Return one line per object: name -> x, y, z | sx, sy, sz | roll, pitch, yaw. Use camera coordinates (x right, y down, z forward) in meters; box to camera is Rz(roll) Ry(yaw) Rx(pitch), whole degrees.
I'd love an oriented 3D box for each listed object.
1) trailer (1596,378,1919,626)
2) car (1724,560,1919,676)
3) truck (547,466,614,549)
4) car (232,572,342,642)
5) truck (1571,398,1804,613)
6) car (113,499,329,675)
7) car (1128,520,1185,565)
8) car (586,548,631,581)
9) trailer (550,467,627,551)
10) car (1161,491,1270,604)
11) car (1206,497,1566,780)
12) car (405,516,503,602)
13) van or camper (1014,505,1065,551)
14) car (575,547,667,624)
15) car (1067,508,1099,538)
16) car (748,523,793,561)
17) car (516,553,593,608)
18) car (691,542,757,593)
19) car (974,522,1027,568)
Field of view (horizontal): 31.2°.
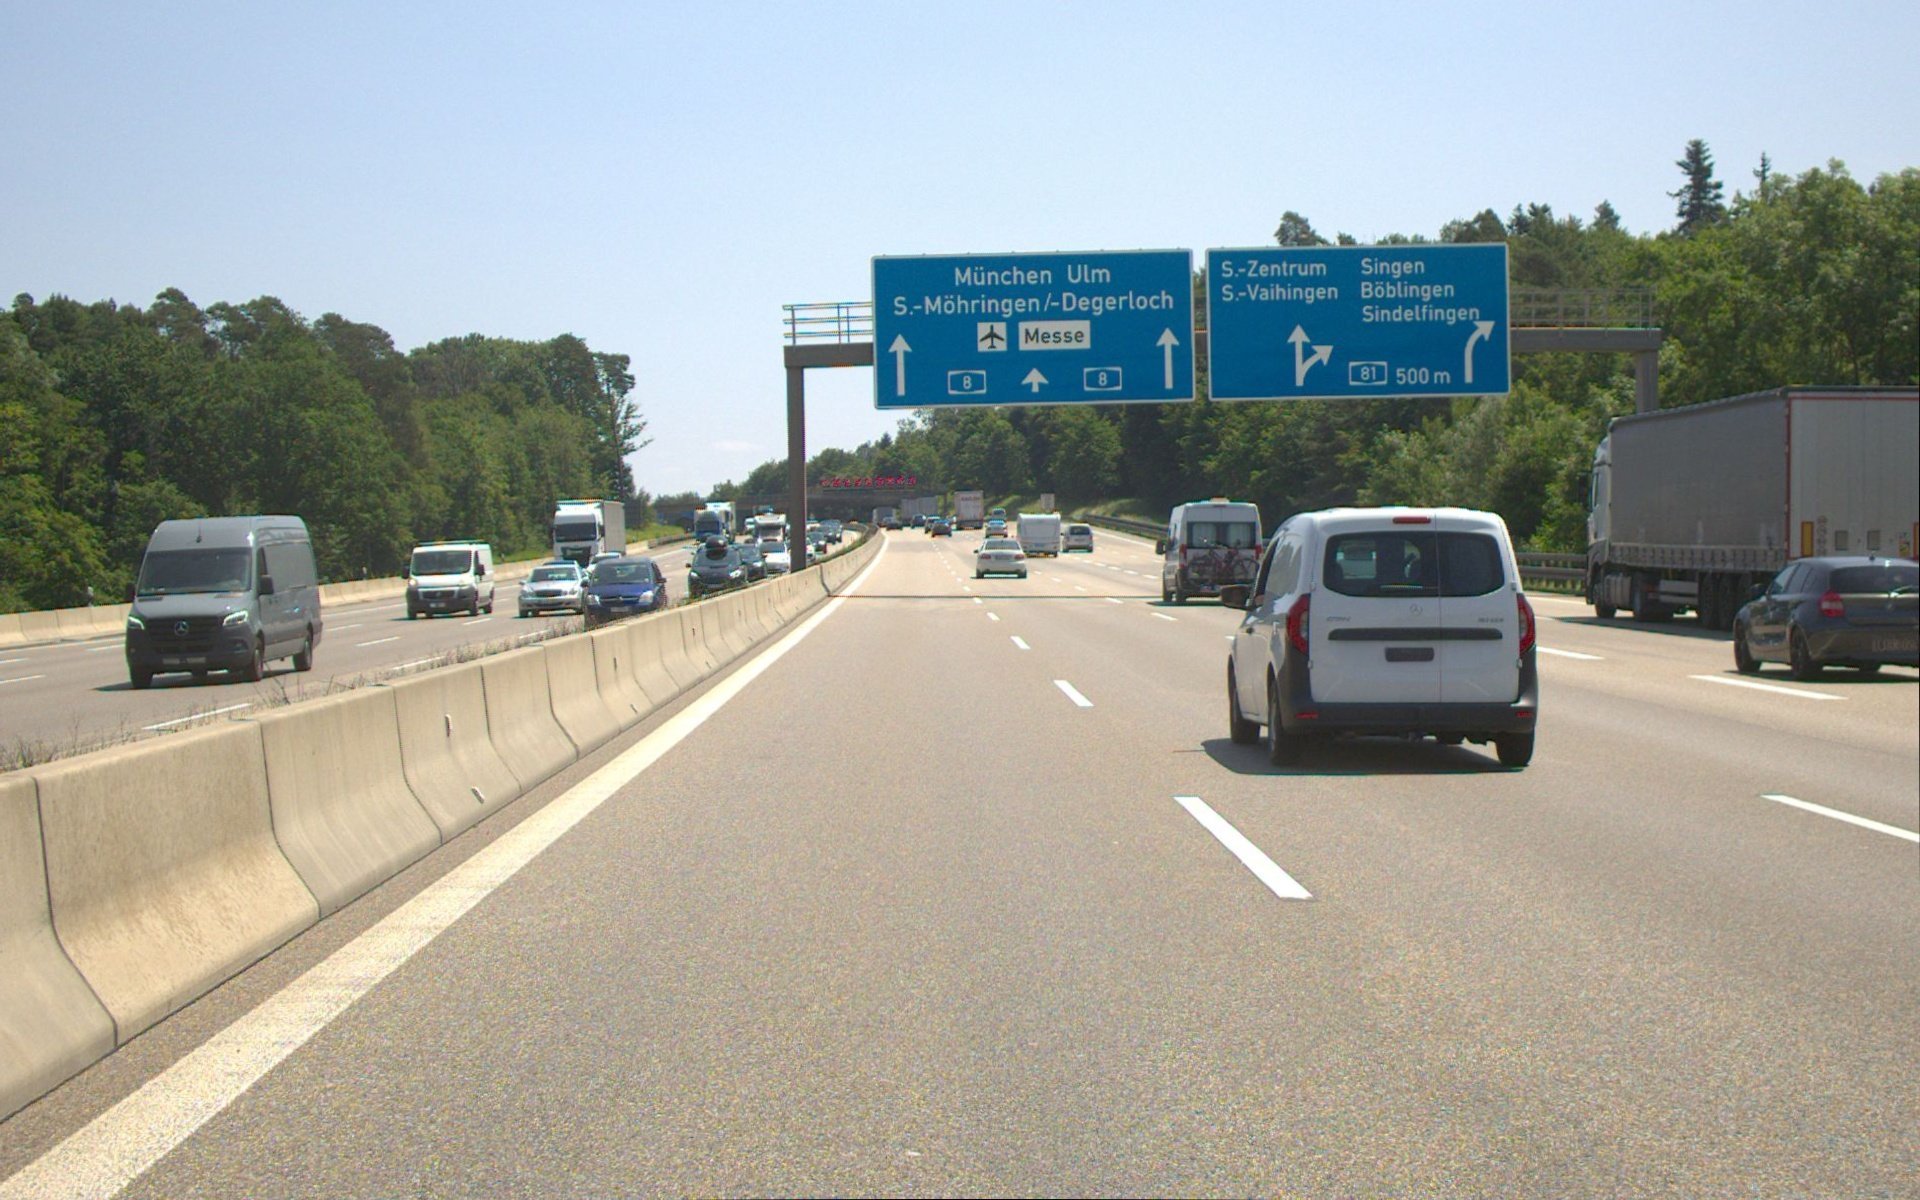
trailer -> 14.472, -1.719, 61.494 | 3.287, 3.917, 13.892 | 0, 1, -1
car -> 10.204, 0.173, 39.937 | 1.670, 1.269, 4.290 | 0, 1, -1
truck -> -20.195, -4.878, 183.134 | 2.760, 4.205, 6.378 | -2, 0, -1
car -> -15.069, 0.137, 77.162 | 1.678, 1.439, 4.022 | -2, 1, -1
truck -> 14.377, -1.870, 68.409 | 3.254, 4.092, 5.988 | 0, 1, -1
car -> -11.845, -0.278, 55.625 | 1.930, 2.598, 7.231 | -2, 1, -1
car -> 7.426, -2.164, 130.102 | 1.818, 1.634, 4.000 | -2, 1, 0
car -> -16.514, -1.683, 161.492 | 1.663, 1.450, 3.840 | -3, 1, 0
trailer -> -20.259, -4.877, 188.195 | 2.754, 4.231, 13.719 | -2, 0, -1
car -> 6.286, -1.313, 85.151 | 2.143, 2.643, 5.710 | -2, 1, -1
car -> 2.997, 0.233, 25.145 | 1.859, 1.819, 4.612 | -2, 1, -2
car -> -15.286, -1.225, 104.097 | 1.930, 2.405, 6.626 | -4, 0, -1
van or camper -> 4.530, -4.109, 197.407 | 2.645, 2.530, 6.502 | -2, 1, -1
car -> -7.649, -0.341, 77.843 | 1.705, 1.656, 3.760 | -1, 1, -1
car -> 7.774, -4.863, 217.720 | 1.820, 1.853, 4.000 | -1, 1, -1
car -> -8.734, -2.671, 158.618 | 1.812, 1.667, 4.476 | -2, 1, 0
car -> -11.563, -0.576, 98.190 | 1.678, 1.439, 4.526 | -3, 1, -1
car -> -7.964, -1.117, 116.458 | 1.870, 1.600, 5.228 | -2, 1, 0
car -> 1.502, -2.056, 130.184 | 1.843, 1.623, 4.553 | -2, 0, -1
